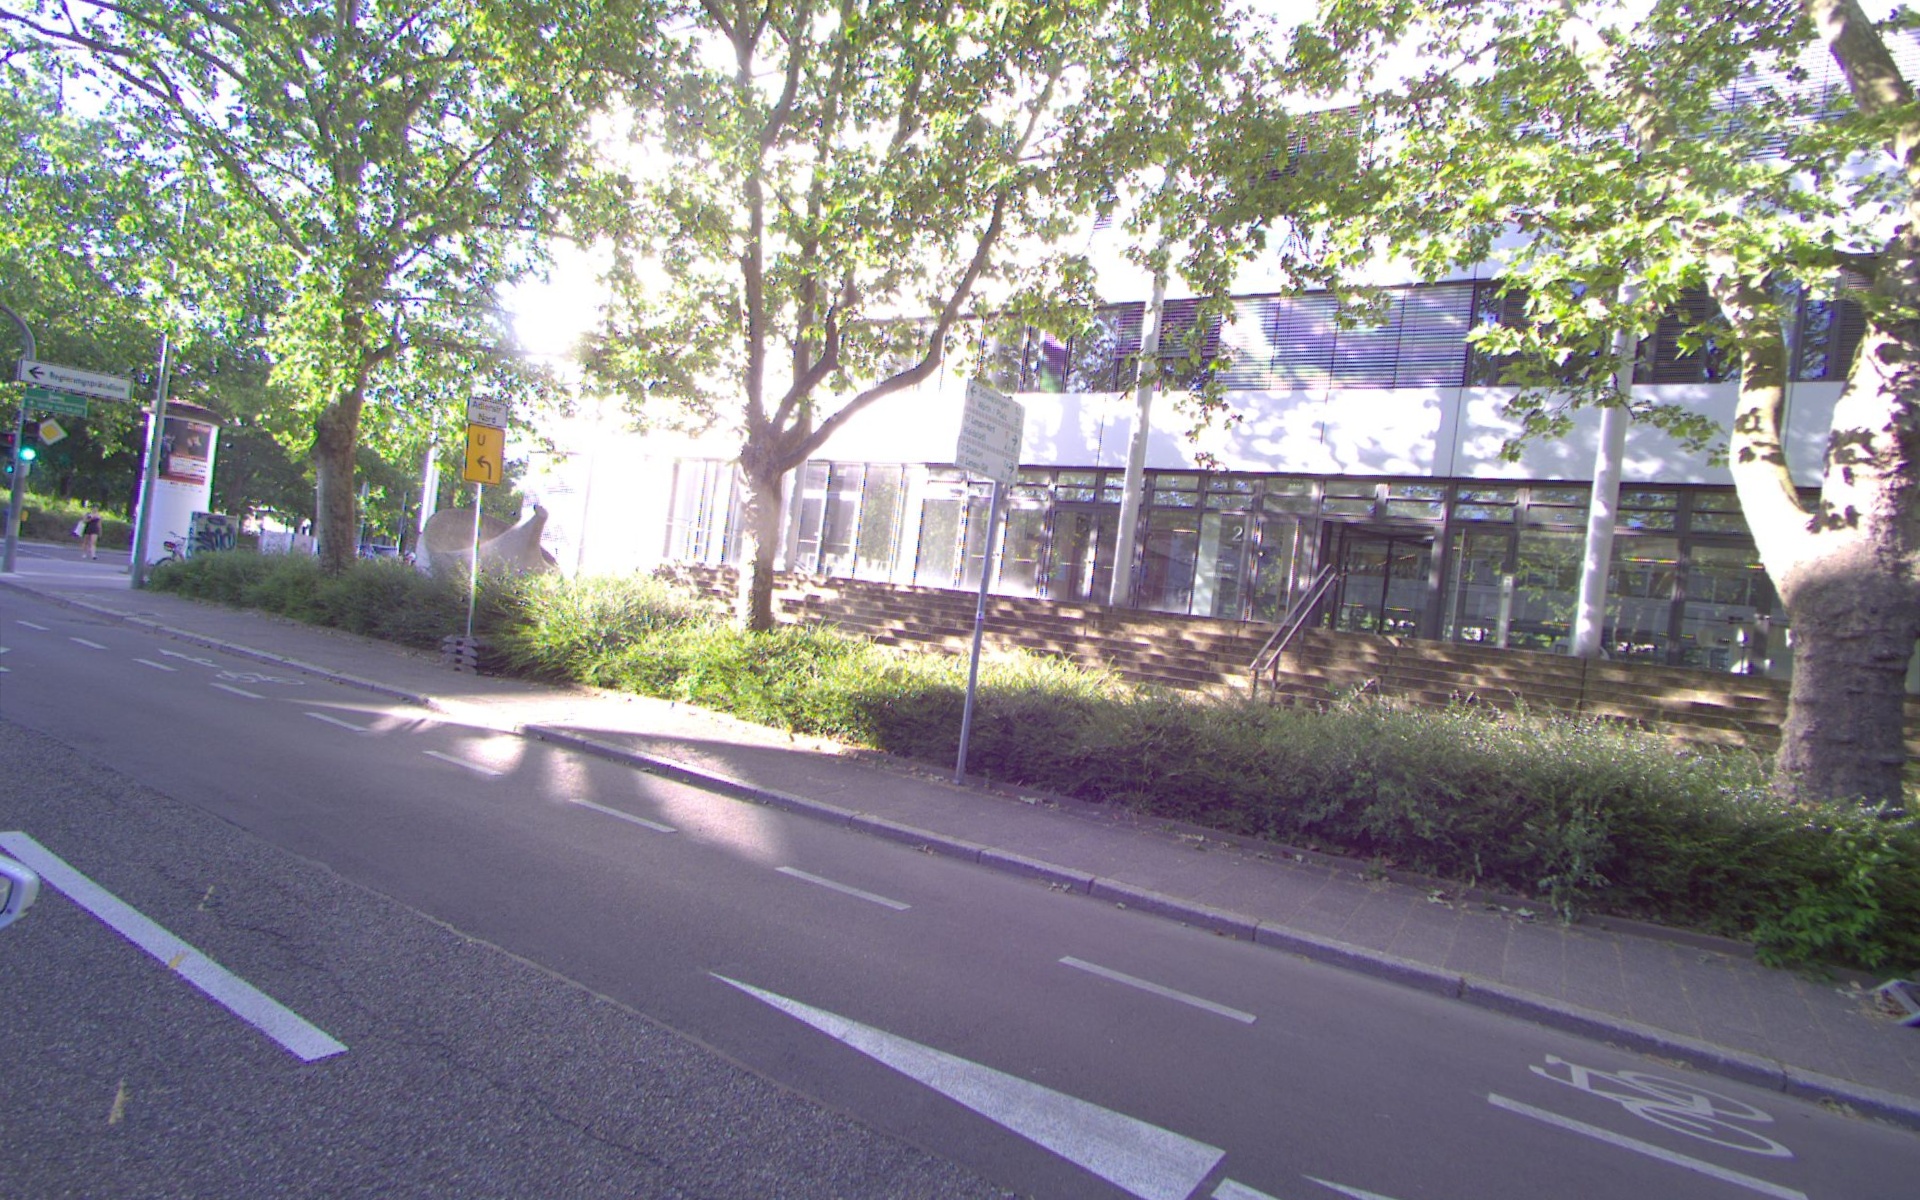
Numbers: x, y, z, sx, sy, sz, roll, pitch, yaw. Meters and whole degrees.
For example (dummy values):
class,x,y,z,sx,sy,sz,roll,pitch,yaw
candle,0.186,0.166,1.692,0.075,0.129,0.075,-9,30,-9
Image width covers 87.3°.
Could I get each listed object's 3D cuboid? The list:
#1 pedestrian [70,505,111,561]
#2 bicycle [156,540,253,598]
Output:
class,x,y,z,sx,sy,sz,roll,pitch,yaw
pedestrian,-25.839,-1.993,29.888,0.897,1.563,0.635,6,-1,40
bicycle,-15.909,-0.633,21.245,0.631,1.040,1.887,7,-2,-5
